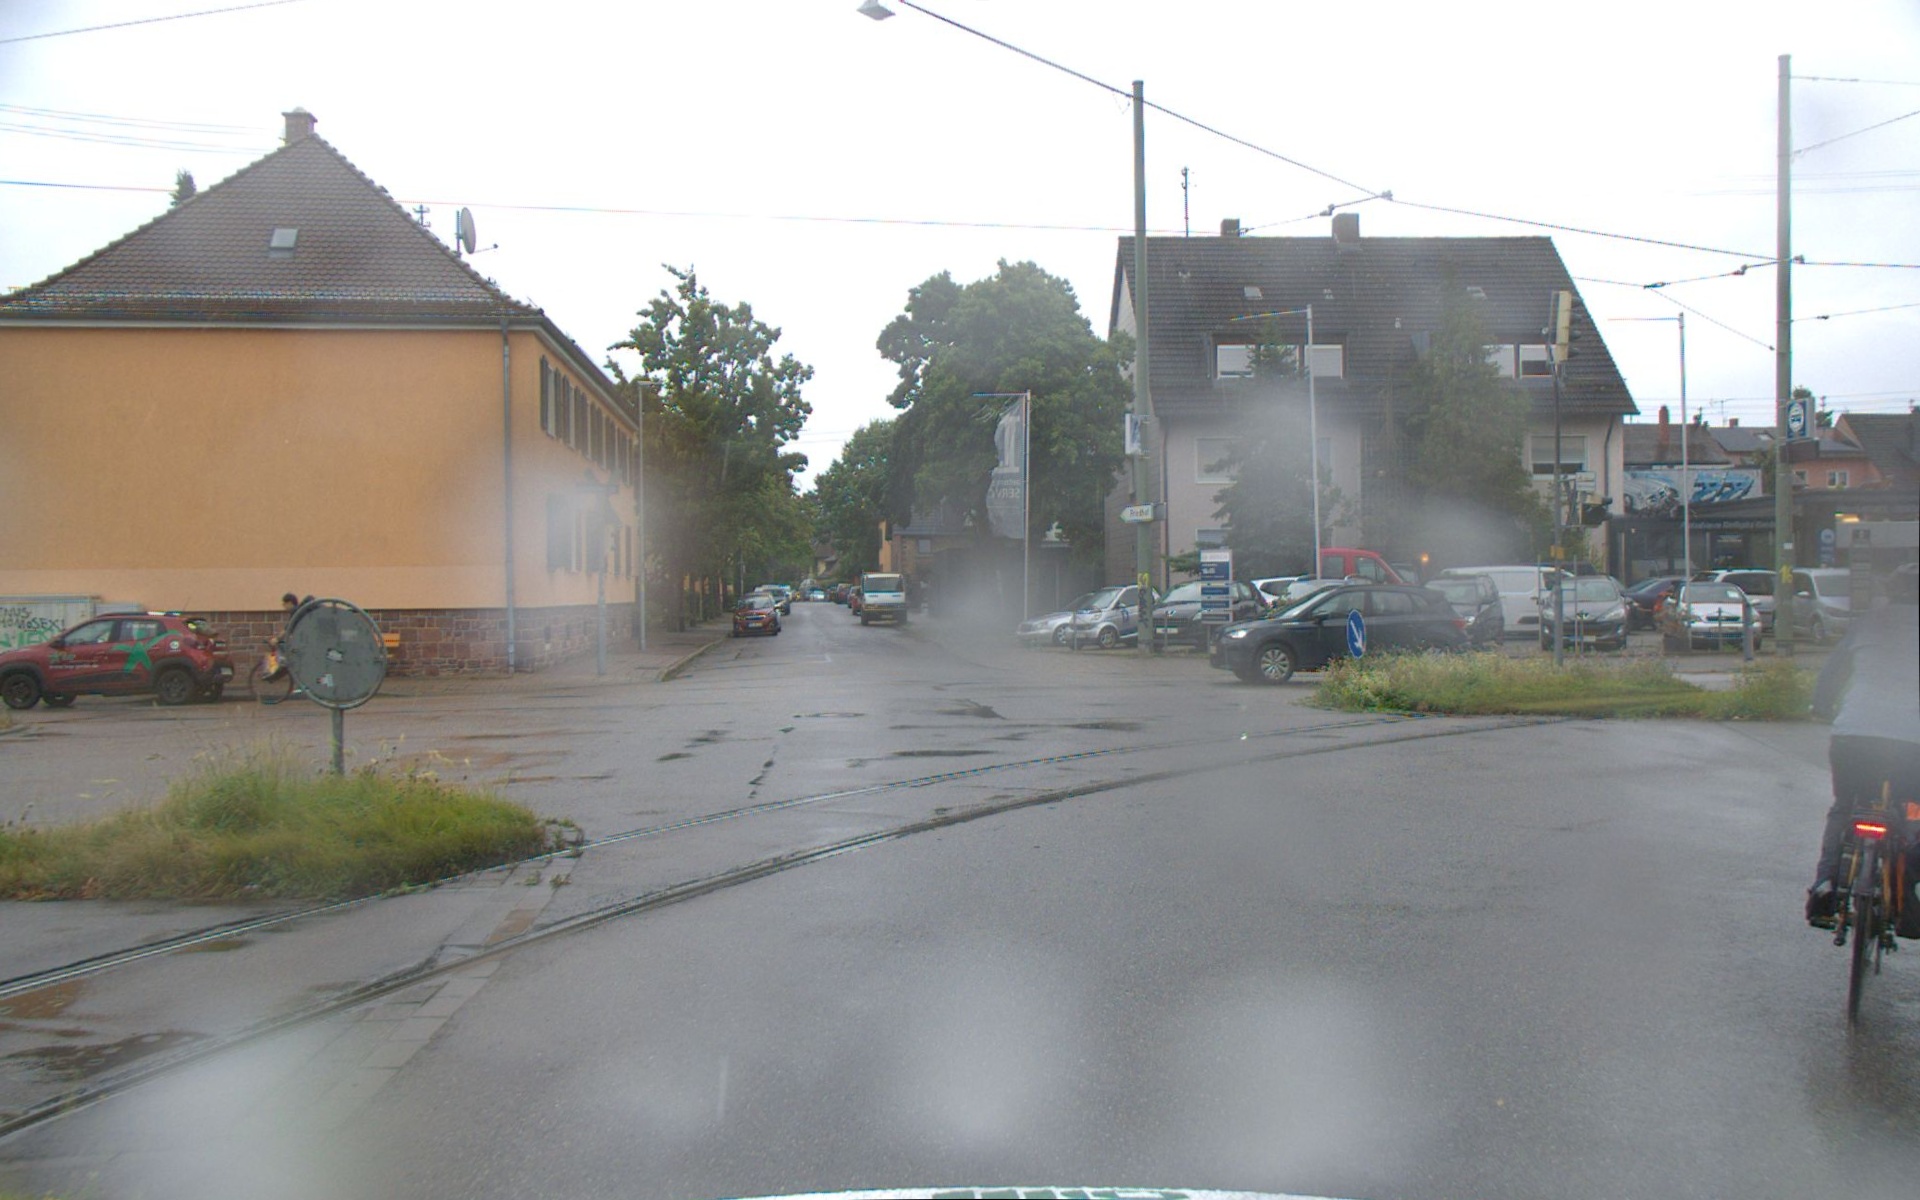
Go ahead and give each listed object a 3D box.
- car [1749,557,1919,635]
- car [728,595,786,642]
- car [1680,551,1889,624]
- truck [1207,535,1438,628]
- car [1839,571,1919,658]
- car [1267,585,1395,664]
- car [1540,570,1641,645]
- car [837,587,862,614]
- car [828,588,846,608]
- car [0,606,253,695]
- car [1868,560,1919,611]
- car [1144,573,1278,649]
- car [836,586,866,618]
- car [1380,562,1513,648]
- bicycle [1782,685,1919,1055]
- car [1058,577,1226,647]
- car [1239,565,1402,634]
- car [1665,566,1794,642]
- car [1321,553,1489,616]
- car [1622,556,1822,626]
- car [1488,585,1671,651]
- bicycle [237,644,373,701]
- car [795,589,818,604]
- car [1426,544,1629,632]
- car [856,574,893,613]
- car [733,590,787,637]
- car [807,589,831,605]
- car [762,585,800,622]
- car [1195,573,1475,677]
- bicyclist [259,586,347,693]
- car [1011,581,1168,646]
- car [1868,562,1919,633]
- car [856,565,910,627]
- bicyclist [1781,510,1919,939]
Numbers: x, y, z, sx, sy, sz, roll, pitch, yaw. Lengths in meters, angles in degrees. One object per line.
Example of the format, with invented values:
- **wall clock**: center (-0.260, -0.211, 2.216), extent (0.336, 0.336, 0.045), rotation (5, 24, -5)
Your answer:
- **car**: center (19.542, -0.097, 37.053), extent (1.765, 1.606, 3.870), rotation (-2, 0, -2)
- **car**: center (-7.350, 0.658, 60.260), extent (1.955, 1.646, 3.995), rotation (-1, 0, -5)
- **car**: center (20.553, -0.295, 41.325), extent (4.342, 1.717, 1.760), rotation (-1, -1, -1)
- **truck**: center (9.830, -0.456, 44.795), extent (5.954, 2.312, 2.001), rotation (-1, -1, 16)
- **car**: center (18.235, 0.289, 30.134), extent (3.561, 1.530, 1.721), rotation (1, 0, -6)
- **car**: center (8.345, 0.521, 37.017), extent (1.768, 1.606, 3.866), rotation (-1, 0, 29)
- **car**: center (13.906, 0.160, 36.372), extent (1.791, 1.530, 4.055), rotation (1, 0, 25)
- **car**: center (-8.622, -0.003, 129.375), extent (1.793, 2.049, 3.995), rotation (1, 0, -6)
- **car**: center (-13.017, -0.221, 175.059), extent (1.793, 2.049, 3.995), rotation (1, 0, -6)
- **car**: center (-13.954, 0.829, 27.638), extent (3.536, 1.362, 1.721), rotation (1, 0, -6)
- **car**: center (29.914, -0.431, 50.649), extent (1.747, 1.524, 3.995), rotation (1, 0, -6)
- **car**: center (5.783, 0.218, 37.797), extent (1.768, 1.606, 3.866), rotation (-1, 0, 29)
- **car**: center (-7.344, 0.105, 111.159), extent (1.793, 2.049, 3.995), rotation (1, 0, -6)
- **car**: center (10.713, 0.089, 36.236), extent (1.956, 1.747, 3.994), rotation (-1, 0, 29)
- **bicycle**: center (3.587, 0.933, 6.303), extent (0.738, 1.091, 1.926), rotation (-2, 0, 25)
- **car**: center (4.552, 0.292, 41.420), extent (3.807, 1.606, 1.795), rotation (-2, 0, -23)
- **car**: center (9.185, -0.002, 42.052), extent (3.882, 1.626, 2.001), rotation (-1, -1, 17)
- **car**: center (16.845, 0.083, 36.389), extent (1.789, 1.530, 4.061), rotation (1, 0, 14)
- **car**: center (12.908, -0.436, 48.150), extent (4.342, 1.717, 1.999), rotation (-1, -1, -1)
- **car**: center (20.075, -0.225, 43.722), extent (4.342, 1.717, 1.999), rotation (-1, -1, -1)
- **car**: center (17.259, 0.505, 46.230), extent (4.342, 1.717, 1.999), rotation (-1, -1, -1)
- **bicycle**: center (-10.368, 1.147, 26.241), extent (1.778, 0.800, 0.941), rotation (-2, 0, -5)
- **car**: center (-18.448, -0.401, 198.472), extent (1.801, 1.727, 4.008), rotation (1, 0, -20)
- **car**: center (14.069, -0.273, 41.174), extent (4.342, 2.049, 1.999), rotation (-1, -1, -1)
- **car**: center (-4.690, -0.365, 90.299), extent (1.954, 2.049, 3.997), rotation (1, 0, -4)
- **car**: center (-7.863, 0.536, 65.300), extent (1.955, 1.780, 3.995), rotation (-1, 0, -5)
- **car**: center (-16.469, -0.345, 193.136), extent (1.801, 1.727, 4.008), rotation (1, 0, -20)
- **car**: center (-10.260, 0.210, 94.929), extent (1.954, 2.049, 3.997), rotation (1, 0, -4)
- **car**: center (5.898, 0.378, 26.309), extent (3.909, 1.502, 1.998), rotation (-1, 0, -5)
- **bicyclist**: center (-10.412, 0.616, 26.233), extent (1.018, 1.626, 0.949), rotation (-2, 0, -5)
- **car**: center (3.484, 0.357, 44.607), extent (3.807, 1.606, 1.795), rotation (-2, 0, -23)
- **car**: center (22.426, -0.045, 37.516), extent (1.682, 1.600, 3.617), rotation (1, 0, 0)
- **car**: center (-3.436, -0.189, 73.093), extent (2.111, 2.617, 4.128), rotation (1, 0, -6)
- **bicyclist**: center (3.536, 0.431, 6.217), extent (0.736, 1.511, 0.846), rotation (-2, 0, 25)
